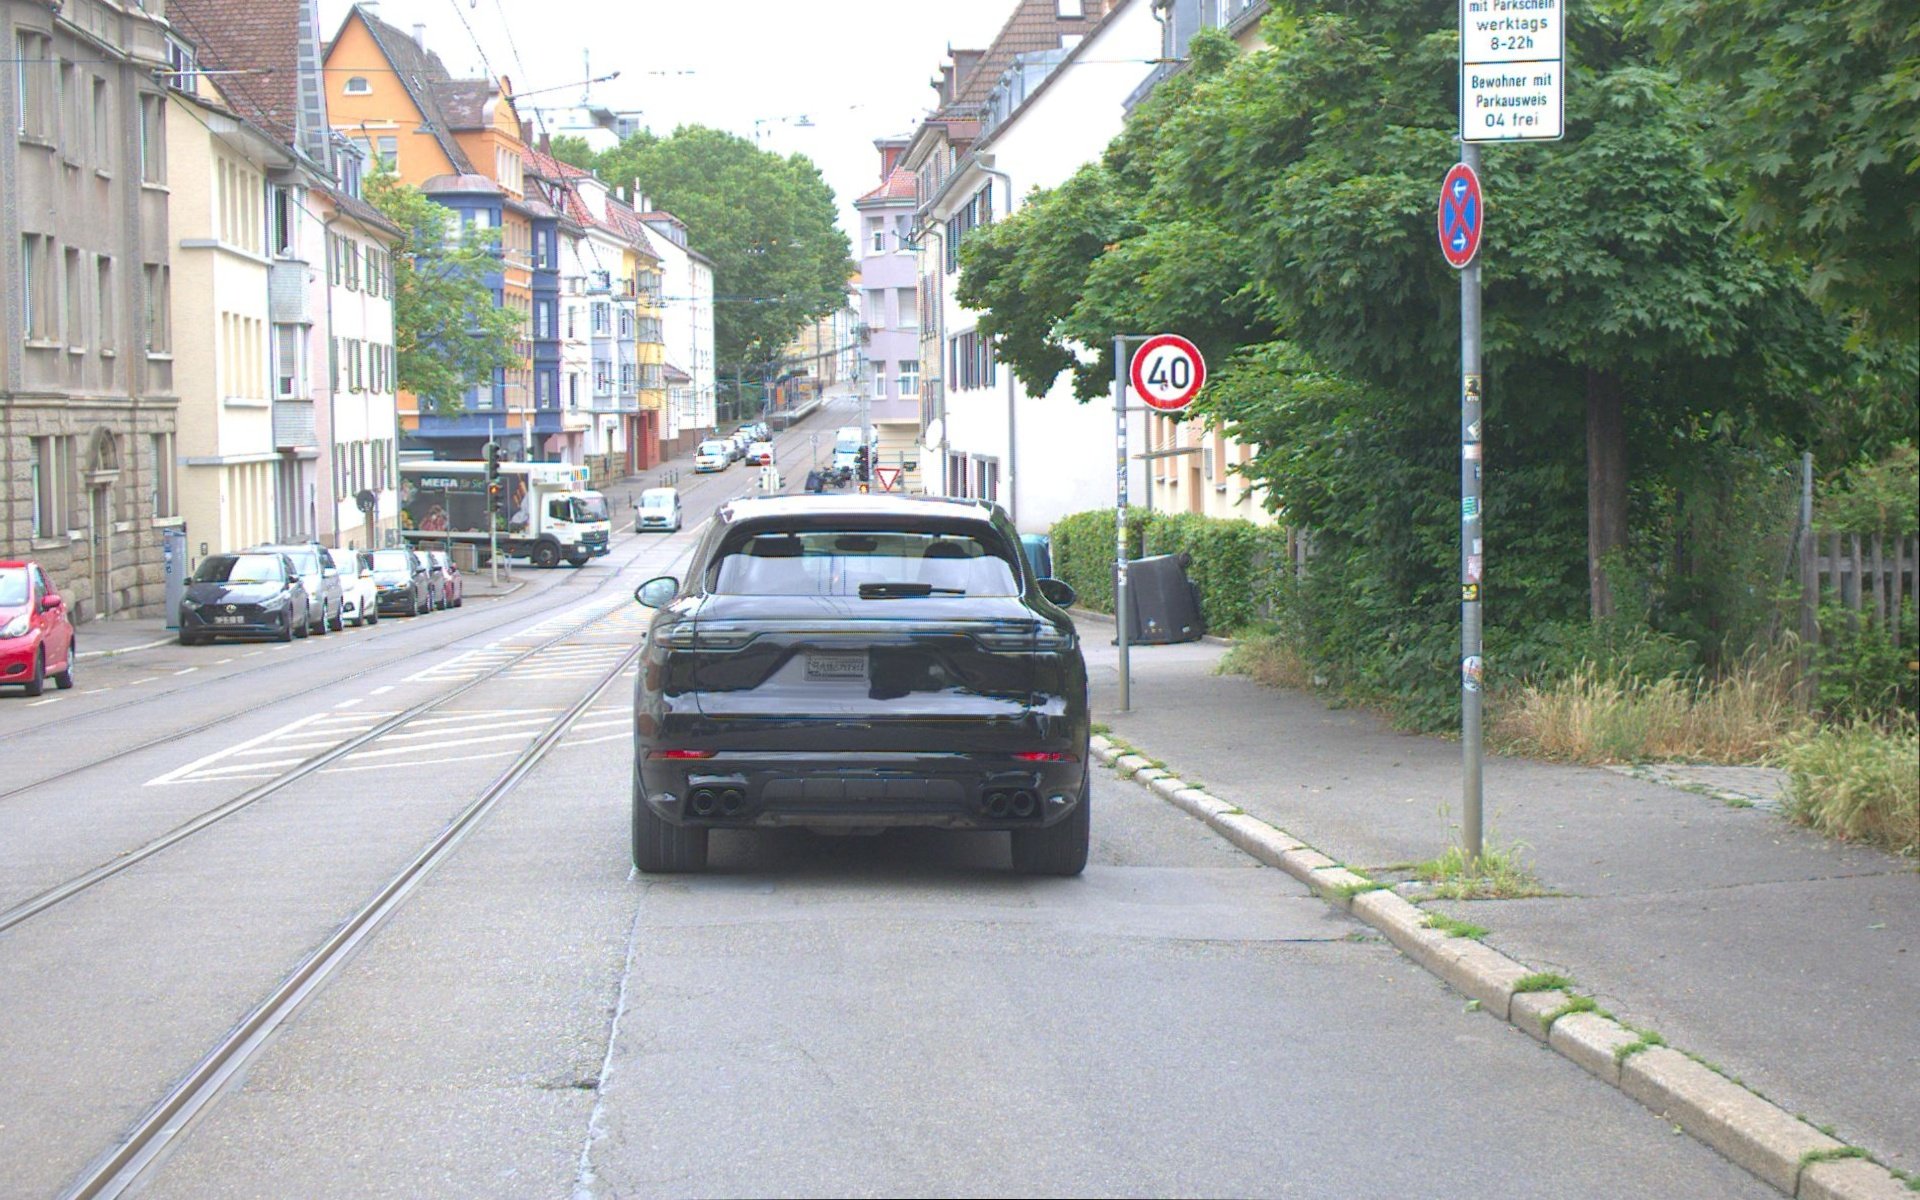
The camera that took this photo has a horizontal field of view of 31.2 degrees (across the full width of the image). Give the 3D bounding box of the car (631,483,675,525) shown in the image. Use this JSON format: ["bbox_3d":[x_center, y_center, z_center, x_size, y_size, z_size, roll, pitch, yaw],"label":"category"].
[{"bbox_3d":[-13.562,-4.247,152.070,1.751,1.753,4.254,-1,1,-2],"label":"car"}]

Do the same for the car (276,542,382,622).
[{"bbox_3d":[-12.224,-0.347,66.791,1.620,1.458,3.685,-2,0,-5],"label":"car"}]

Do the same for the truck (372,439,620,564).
[{"bbox_3d":[-16.486,-3.455,122.037,8.572,4.167,2.258,-1,-1,18],"label":"truck"}]

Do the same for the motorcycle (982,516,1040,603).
[{"bbox_3d":[0.874,-0.703,59.328,0.838,1.451,2.553,-1,1,-2],"label":"motorcycle"}]

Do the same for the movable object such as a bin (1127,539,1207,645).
[{"bbox_3d":[2.432,-0.100,40.419,0.792,1.214,0.789,-1,1,-7],"label":"movable object such as a bin"}]

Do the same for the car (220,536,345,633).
[{"bbox_3d":[-11.905,-0.270,60.629,1.620,1.599,4.352,-2,0,-5],"label":"car"}]

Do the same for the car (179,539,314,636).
[{"bbox_3d":[-11.542,-0.204,55.813,1.620,1.458,4.033,-2,0,-5],"label":"car"}]

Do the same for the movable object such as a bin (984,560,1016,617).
[{"bbox_3d":[0.765,-0.217,65.849,0.588,1.076,0.692,-1,1,-1],"label":"movable object such as a bin"}]

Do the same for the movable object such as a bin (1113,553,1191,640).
[{"bbox_3d":[2.298,-0.047,41.184,0.792,1.008,0.789,-1,1,-7],"label":"movable object such as a bin"}]

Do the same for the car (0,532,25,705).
[{"bbox_3d":[-9.949,0.208,31.443,1.867,1.640,4.403,-2,0,-5],"label":"car"}]

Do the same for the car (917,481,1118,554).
[{"bbox_3d":[1.890,-2.720,114.062,6.289,2.282,2.199,-1,1,26],"label":"car"}]

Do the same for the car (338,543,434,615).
[{"bbox_3d":[-12.458,-0.461,74.834,1.620,1.468,4.556,-2,0,-5],"label":"car"}]

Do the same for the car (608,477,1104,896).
[{"bbox_3d":[-0.542,0.321,15.998,1.993,1.670,4.001,-1,1,-4],"label":"car"}]

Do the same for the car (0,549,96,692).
[{"bbox_3d":[-10.512,0.228,37.185,1.620,1.458,3.746,-2,0,-5],"label":"car"}]
